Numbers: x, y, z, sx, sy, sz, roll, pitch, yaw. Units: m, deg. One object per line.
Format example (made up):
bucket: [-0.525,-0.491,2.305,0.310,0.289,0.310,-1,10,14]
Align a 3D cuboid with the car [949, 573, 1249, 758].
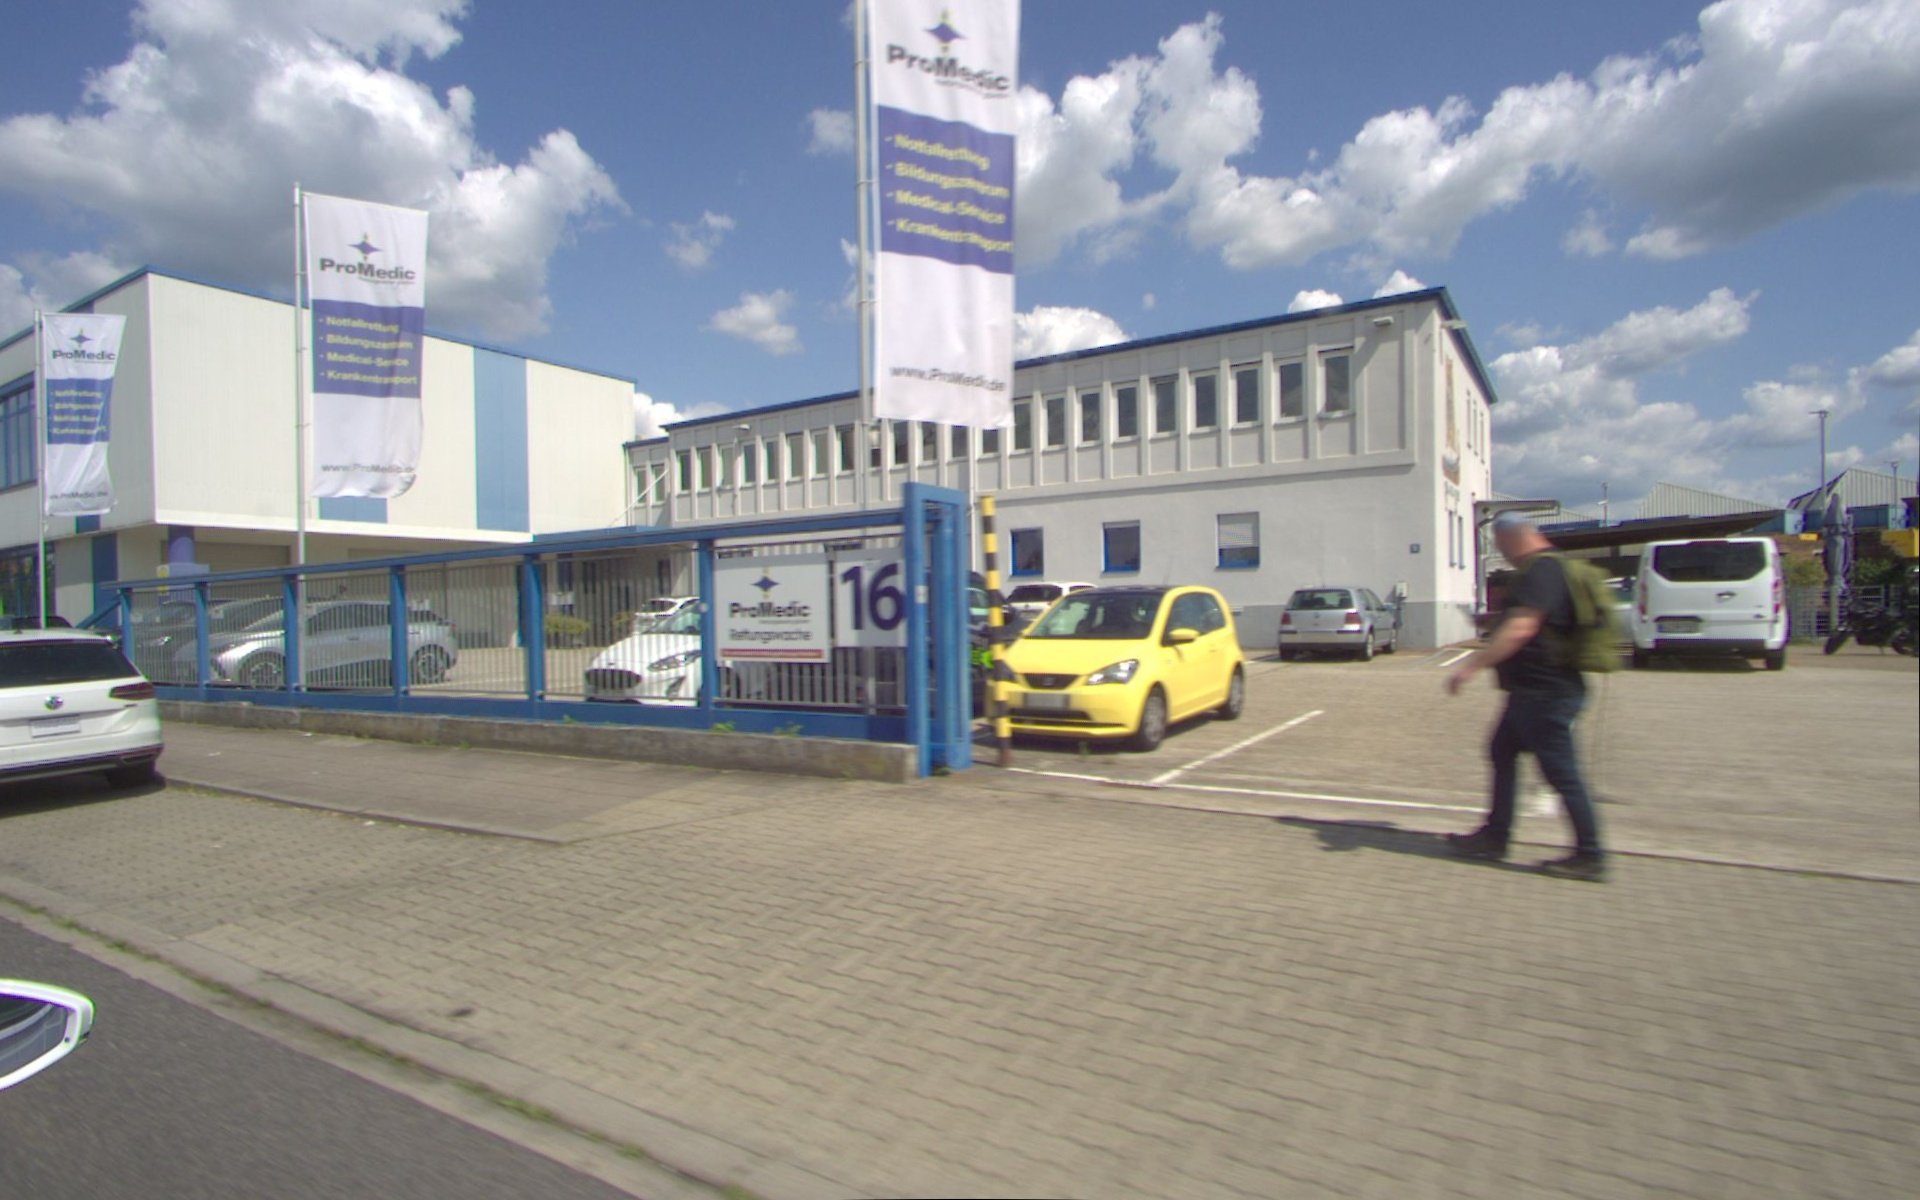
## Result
car: [1.552,0.521,10.106,1.766,1.510,3.396,-2,1,32]

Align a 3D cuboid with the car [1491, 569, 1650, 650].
car: [14.452,0.273,23.837,3.116,1.790,1.413,-2,-3,30]

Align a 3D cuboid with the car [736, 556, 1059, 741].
car: [-0.523,0.505,11.279,1.766,1.702,3.800,-1,-2,32]

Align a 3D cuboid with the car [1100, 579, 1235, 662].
car: [4.817,0.454,22.818,1.780,1.713,3.980,-1,-1,31]

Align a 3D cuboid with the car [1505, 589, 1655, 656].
car: [15.578,0.607,25.315,3.116,1.582,1.413,-2,-4,30]

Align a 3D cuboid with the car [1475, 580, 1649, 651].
car: [12.941,0.388,21.651,3.118,1.420,1.412,-2,-4,32]

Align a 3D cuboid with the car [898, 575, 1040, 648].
car: [0.317,0.295,25.804,1.907,1.724,3.980,-1,-1,32]

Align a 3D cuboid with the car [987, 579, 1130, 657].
car: [2.402,0.405,23.450,1.780,1.651,3.980,-1,-1,31]

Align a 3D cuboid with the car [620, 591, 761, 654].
car: [-8.129,0.664,30.544,1.780,1.763,4.050,-1,-1,31]

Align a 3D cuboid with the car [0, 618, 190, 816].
car: [-9.248,0.980,9.307,4.532,1.540,1.864,-2,-2,32]

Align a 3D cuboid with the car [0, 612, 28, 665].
car: [-32.609,1.320,32.839,4.230,1.678,1.989,-3,-2,33]

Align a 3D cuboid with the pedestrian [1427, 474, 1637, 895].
pedestrian: [2.704,0.360,4.747,0.776,1.780,0.767,-1,2,32]

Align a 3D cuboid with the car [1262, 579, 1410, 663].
car: [7.678,0.385,20.232,1.840,1.506,3.870,-2,0,36]

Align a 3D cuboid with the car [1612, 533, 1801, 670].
car: [12.396,0.081,16.927,2.245,1.961,4.668,-1,-1,34]

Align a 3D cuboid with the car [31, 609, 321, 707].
car: [-15.259,1.059,19.719,1.971,1.708,4.078,-1,-1,31]

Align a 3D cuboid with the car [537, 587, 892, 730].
car: [-2.805,0.596,12.278,1.972,1.439,3.978,-1,0,32]

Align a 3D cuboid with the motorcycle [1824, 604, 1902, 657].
motorcycle: [17.071,0.572,18.945,0.983,0.967,0.457,-1,1,19]

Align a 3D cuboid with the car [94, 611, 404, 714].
car: [-13.056,1.057,18.662,2.116,1.668,4.219,-1,-1,31]

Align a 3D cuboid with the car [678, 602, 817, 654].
car: [-6.184,0.801,29.584,1.780,1.418,3.980,-1,-1,31]

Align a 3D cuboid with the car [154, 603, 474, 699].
car: [-11.076,0.797,17.494,1.972,1.439,4.270,-1,0,32]

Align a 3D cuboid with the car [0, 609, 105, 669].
car: [-26.902,1.161,29.134,4.578,1.531,1.823,-4,-2,33]

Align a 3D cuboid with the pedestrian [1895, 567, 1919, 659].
pedestrian: [16.921,0.225,17.642,0.596,1.609,0.414,0,1,33]

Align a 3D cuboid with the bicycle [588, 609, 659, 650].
bicycle: [-10.565,0.909,31.520,0.632,1.228,2.220,-1,-1,31]
